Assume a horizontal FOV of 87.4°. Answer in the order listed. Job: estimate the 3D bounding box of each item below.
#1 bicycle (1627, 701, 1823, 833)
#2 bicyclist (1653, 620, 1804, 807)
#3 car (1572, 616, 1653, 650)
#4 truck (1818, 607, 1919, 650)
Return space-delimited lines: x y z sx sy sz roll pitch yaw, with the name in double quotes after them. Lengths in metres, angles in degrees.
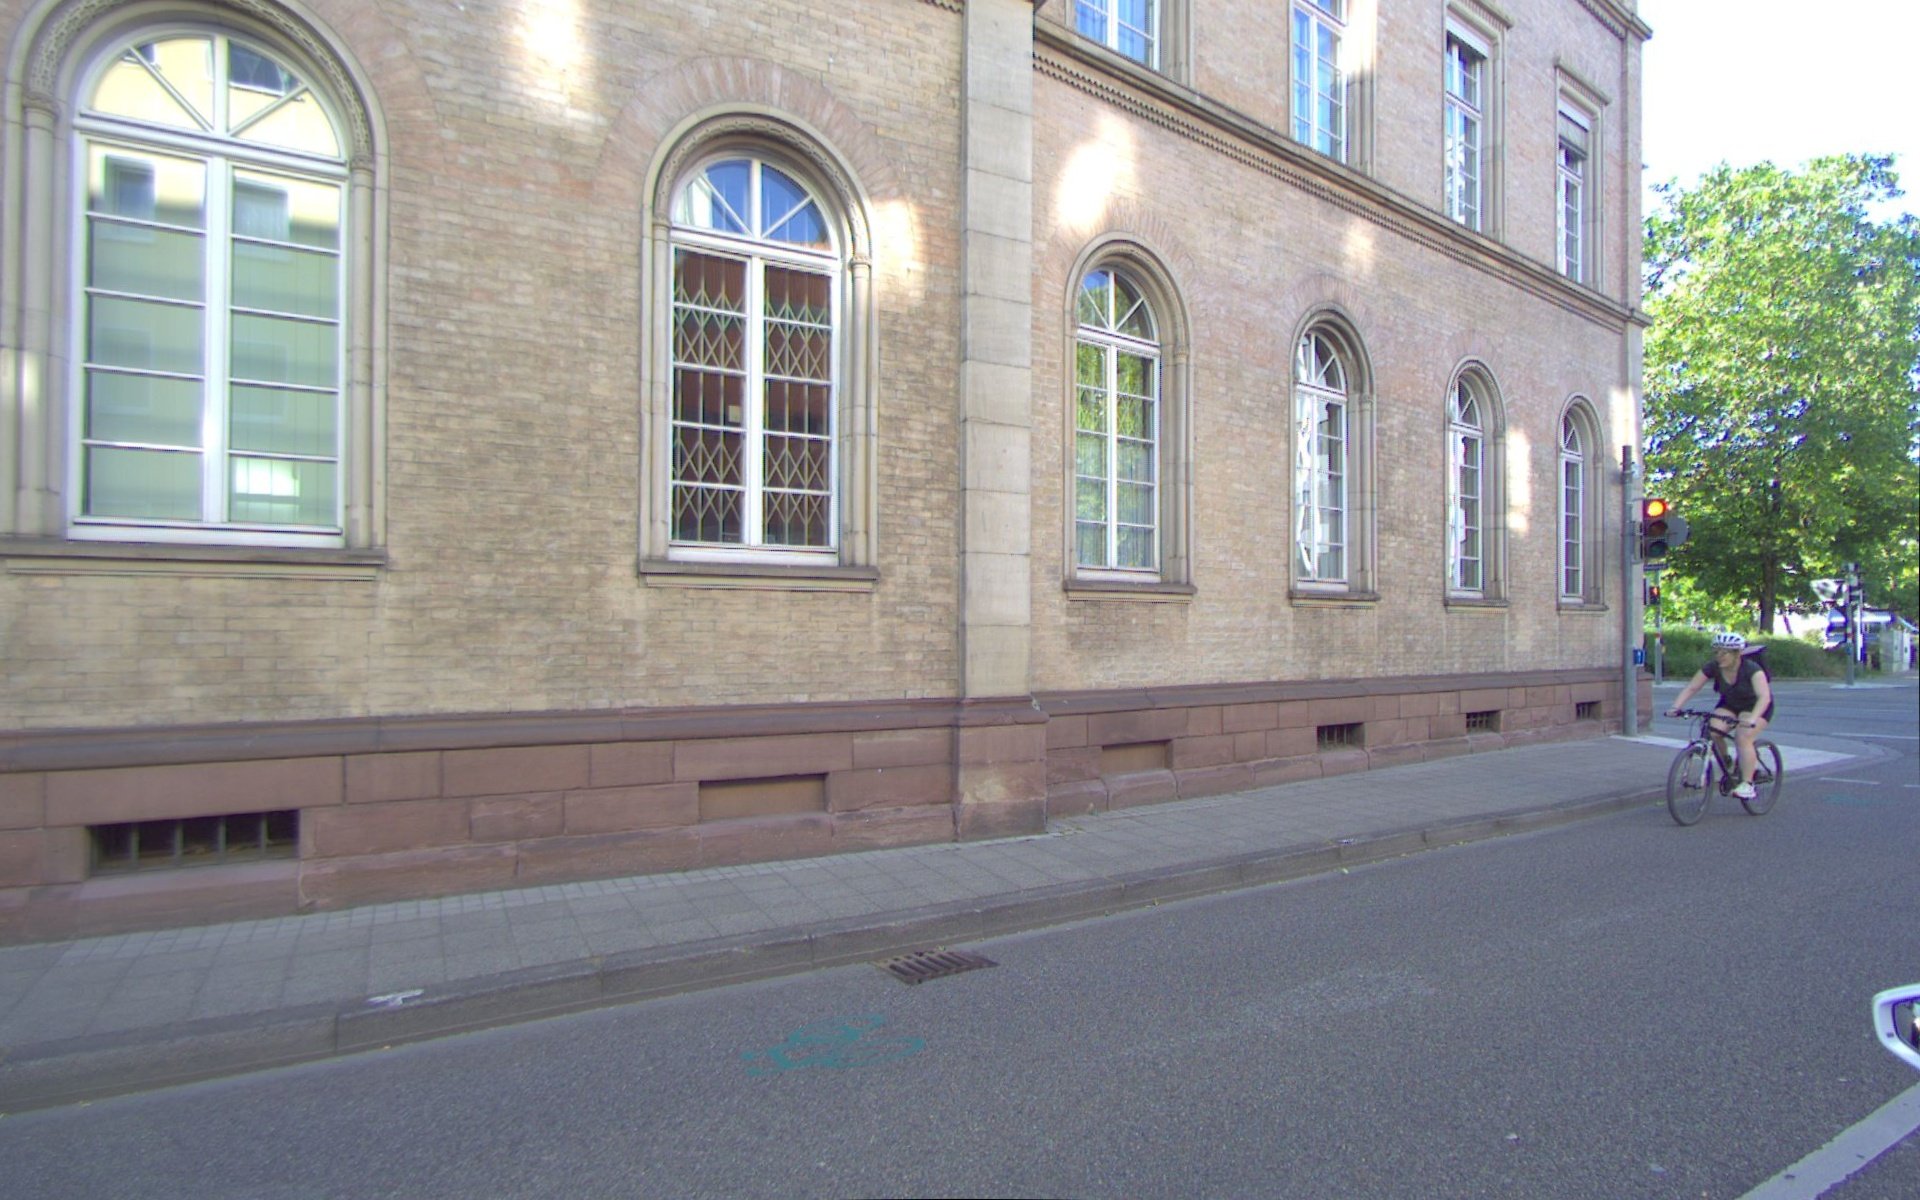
6.523 1.372 8.546 1.746 0.936 0.682 1 -4 -30 "bicycle"
6.540 0.934 8.559 0.861 1.495 0.682 1 -4 -30 "bicyclist"
47.834 2.473 73.720 2.056 2.423 4.521 2 -3 -38 "car"
53.759 1.669 59.067 2.069 2.431 4.790 1 -1 -39 "truck"
